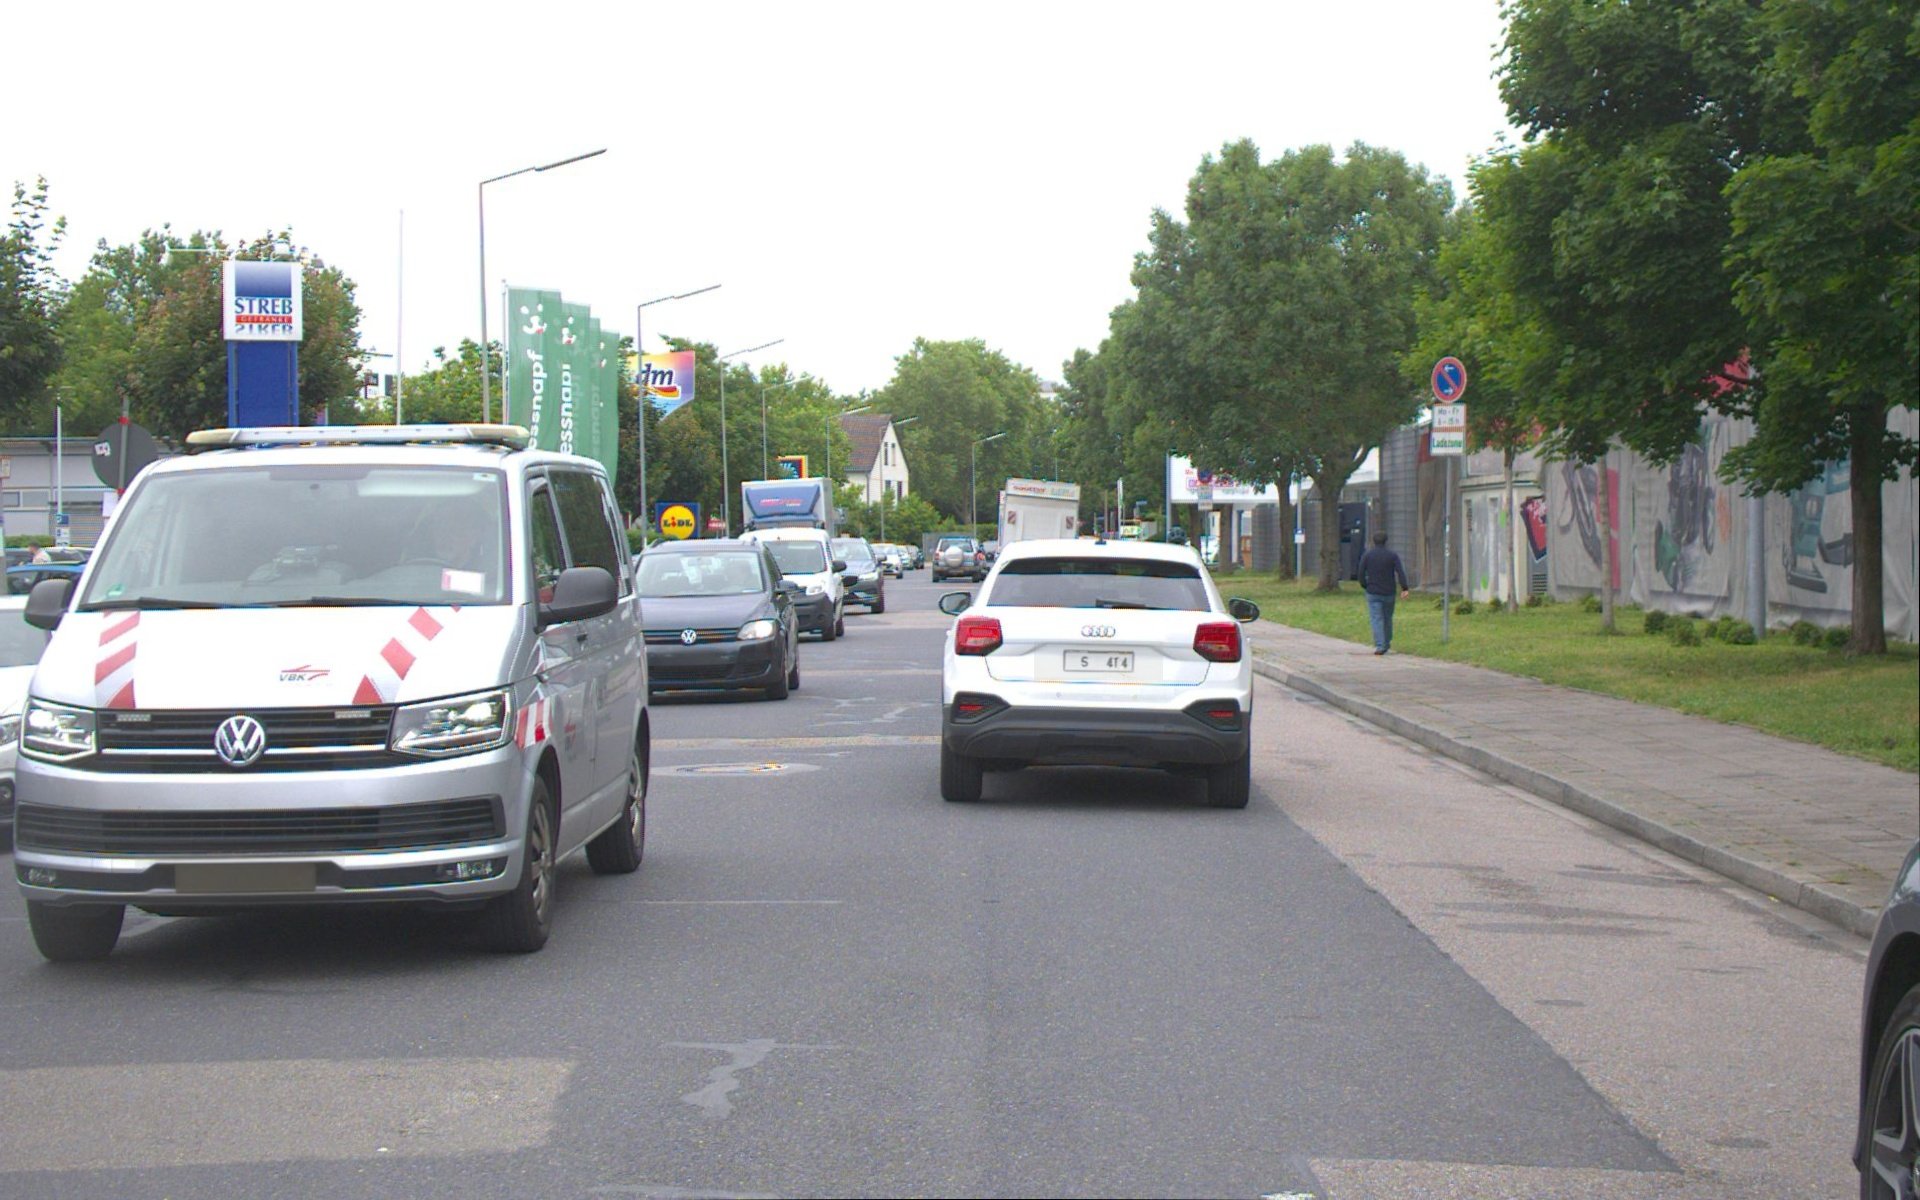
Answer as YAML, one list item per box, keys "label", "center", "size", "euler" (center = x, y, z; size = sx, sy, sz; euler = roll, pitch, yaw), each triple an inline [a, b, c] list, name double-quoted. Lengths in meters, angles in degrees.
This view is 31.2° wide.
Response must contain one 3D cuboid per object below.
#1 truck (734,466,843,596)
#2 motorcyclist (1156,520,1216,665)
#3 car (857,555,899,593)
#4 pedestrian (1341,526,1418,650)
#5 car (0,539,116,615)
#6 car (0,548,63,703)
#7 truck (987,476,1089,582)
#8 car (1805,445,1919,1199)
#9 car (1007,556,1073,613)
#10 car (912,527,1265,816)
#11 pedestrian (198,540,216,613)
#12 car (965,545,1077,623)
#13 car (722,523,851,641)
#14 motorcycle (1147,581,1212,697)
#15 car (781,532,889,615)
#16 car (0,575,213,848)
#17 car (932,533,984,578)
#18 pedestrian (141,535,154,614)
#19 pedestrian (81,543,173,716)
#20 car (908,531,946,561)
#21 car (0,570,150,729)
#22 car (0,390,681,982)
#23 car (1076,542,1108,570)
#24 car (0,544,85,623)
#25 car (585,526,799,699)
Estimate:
- label: "truck"
  center: [-5.422, -2.190, 109.528]
  size: [2.973, 3.942, 6.405]
  euler: [-2, 1, 1]
- label: "motorcyclist"
  center: [2.428, -0.082, 36.997]
  size: [0.625, 1.548, 0.604]
  euler: [0, 1, 2]
- label: "car"
  center: [-3.420, -1.092, 143.699]
  size: [1.599, 1.523, 3.528]
  euler: [-2, 0, 1]
- label: "pedestrian"
  center: [5.595, -0.160, 45.943]
  size: [0.919, 1.629, 0.852]
  euler: [1, 0, 2]
- label: "car"
  center: [-21.135, -0.523, 76.952]
  size: [3.987, 1.663, 1.876]
  euler: [0, 1, 1]
- label: "car"
  center: [-11.909, 0.223, 37.199]
  size: [3.873, 1.615, 1.928]
  euler: [1, 1, 1]
- label: "truck"
  center: [2.726, -2.473, 123.404]
  size: [3.135, 3.572, 10.051]
  euler: [1, 0, -1]
- label: "car"
  center: [2.665, 0.652, 4.714]
  size: [1.908, 1.735, 4.480]
  euler: [3, 1, 1]
- label: "car"
  center: [2.636, -0.518, 113.957]
  size: [1.993, 1.800, 4.000]
  euler: [1, 0, -1]
- label: "car"
  center: [0.735, 0.354, 20.967]
  size: [1.886, 1.526, 4.254]
  euler: [2, 1, 1]
- label: "pedestrian"
  center: [-16.232, -0.515, 74.155]
  size: [0.359, 1.565, 0.504]
  euler: [-1, 1, -13]
- label: "car"
  center: [1.091, -0.315, 63.239]
  size: [1.937, 1.362, 4.000]
  euler: [-1, 1, 0]
- label: "car"
  center: [-2.728, -0.315, 54.765]
  size: [1.690, 1.755, 4.135]
  euler: [-2, 1, 1]
- label: "motorcycle"
  center: [2.350, 0.402, 36.948]
  size: [0.641, 1.174, 2.113]
  euler: [0, 1, 2]
- label: "car"
  center: [-2.628, -0.586, 73.238]
  size: [1.933, 1.678, 4.495]
  euler: [-1, 1, 2]
- label: "car"
  center: [-5.741, 0.629, 20.053]
  size: [1.698, 1.363, 4.518]
  euler: [-5, 1, 0]
- label: "car"
  center: [-0.103, -1.718, 131.201]
  size: [1.869, 1.656, 4.000]
  euler: [-1, 1, -1]
- label: "pedestrian"
  center: [-17.737, -0.557, 75.068]
  size: [0.262, 1.724, 0.422]
  euler: [0, 1, -12]
- label: "pedestrian"
  center: [-8.311, 0.286, 34.324]
  size: [0.775, 1.709, 0.697]
  euler: [0, 1, -4]
- label: "car"
  center: [-1.888, -3.041, 194.744]
  size: [1.774, 1.649, 3.749]
  euler: [1, 0, -6]
- label: "car"
  center: [-12.610, 0.629, 44.524]
  size: [3.928, 2.007, 1.761]
  euler: [0, 1, -6]
- label: "car"
  center: [-2.419, 0.282, 14.230]
  size: [1.927, 2.007, 4.955]
  euler: [-1, 0, 2]
- label: "car"
  center: [8.381, -2.811, 218.119]
  size: [1.886, 1.677, 4.254]
  euler: [2, 1, 1]
- label: "car"
  center: [-21.174, -0.359, 74.340]
  size: [3.987, 1.663, 1.876]
  euler: [0, 1, 1]
- label: "car"
  center: [-2.582, 0.085, 33.883]
  size: [1.729, 1.566, 3.946]
  euler: [-1, 1, 0]
